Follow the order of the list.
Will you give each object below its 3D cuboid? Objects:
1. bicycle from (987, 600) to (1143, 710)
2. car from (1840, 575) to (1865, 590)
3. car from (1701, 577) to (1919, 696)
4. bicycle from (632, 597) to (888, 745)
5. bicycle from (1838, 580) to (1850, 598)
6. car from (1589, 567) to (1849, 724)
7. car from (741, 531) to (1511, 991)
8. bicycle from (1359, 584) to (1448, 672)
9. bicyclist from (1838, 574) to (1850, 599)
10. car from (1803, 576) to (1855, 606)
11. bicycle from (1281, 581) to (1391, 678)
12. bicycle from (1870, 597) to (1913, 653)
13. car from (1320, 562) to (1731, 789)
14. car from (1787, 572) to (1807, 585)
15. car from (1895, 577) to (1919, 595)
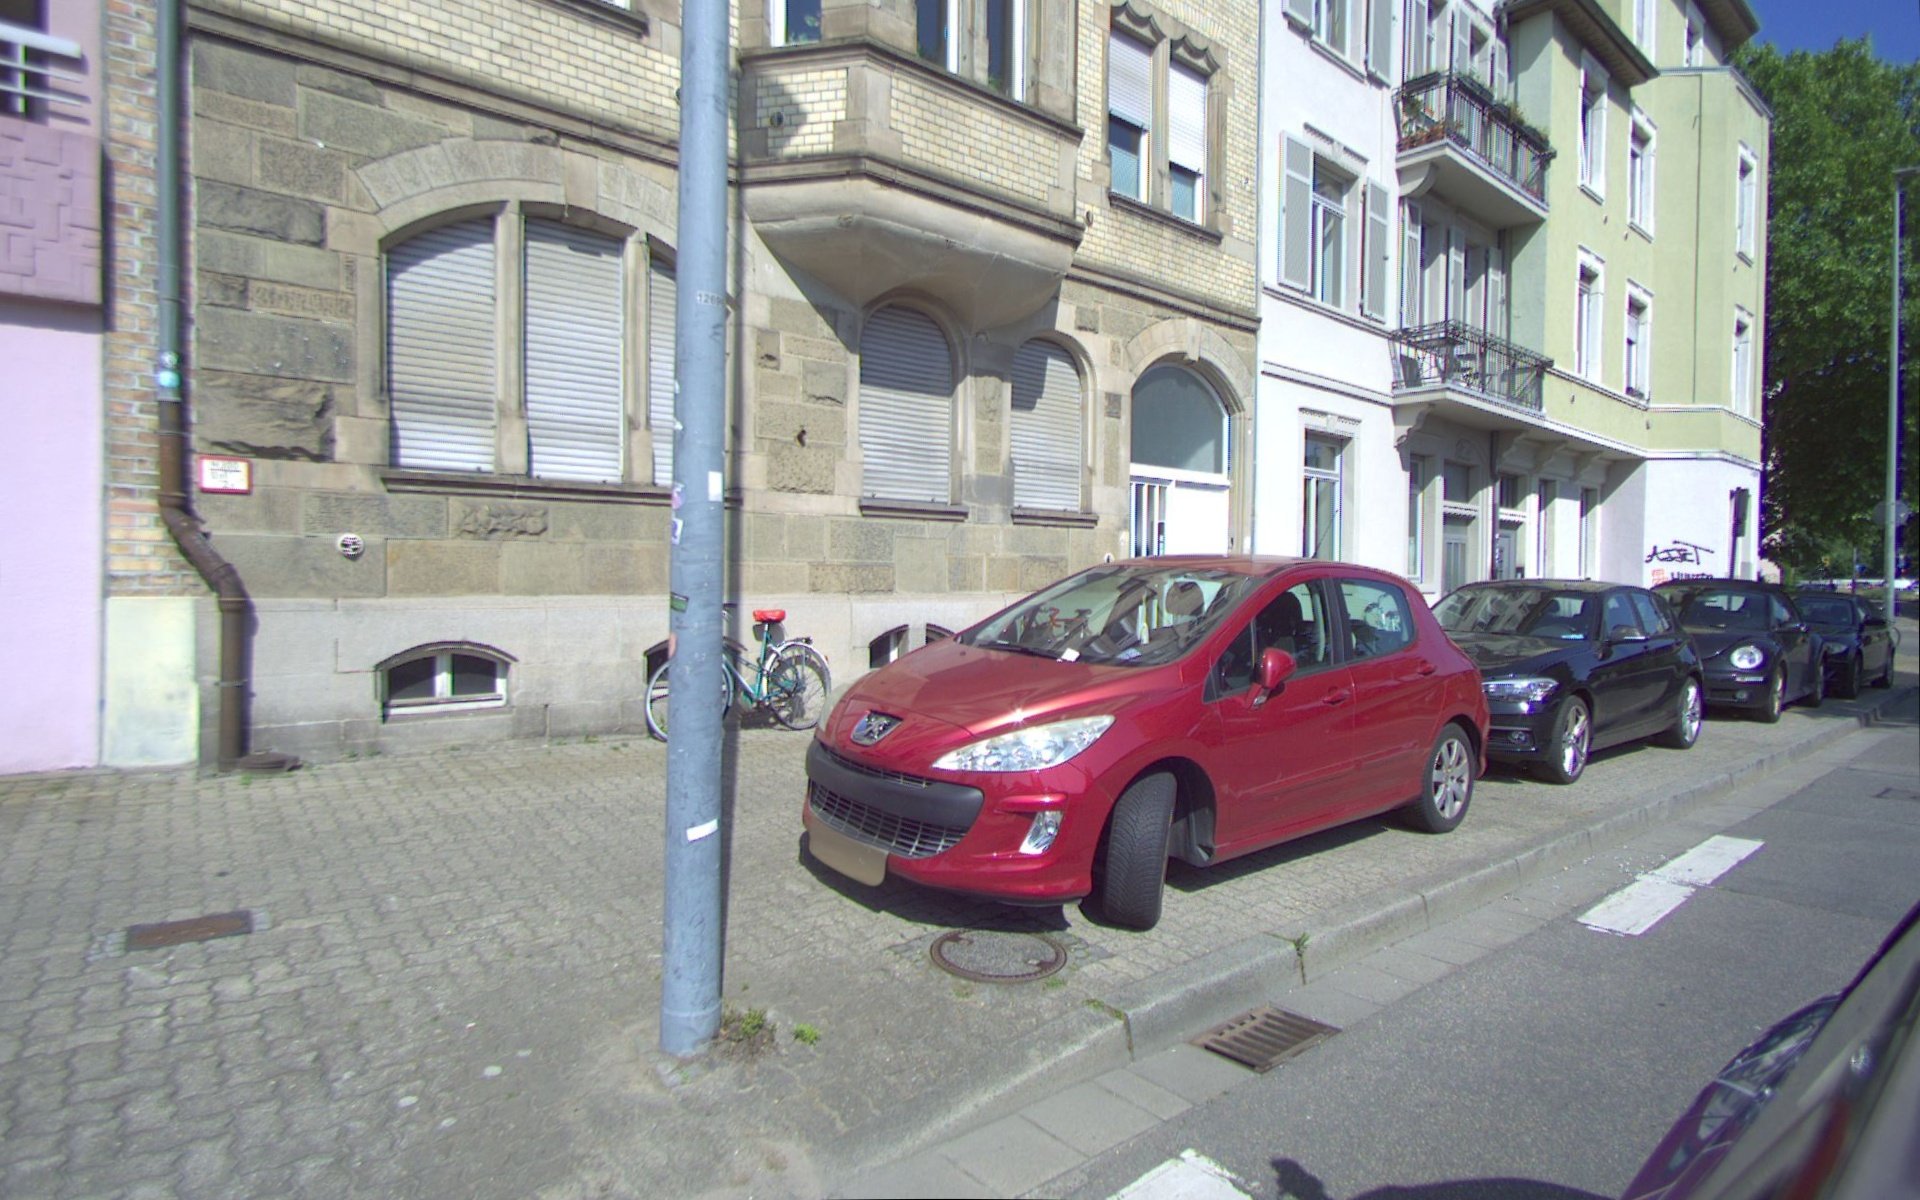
[{"bbox_3d":[1.053,0.505,9.961,1.622,0.982,0.509,0,2,-38],"label":"bicycle"},{"bbox_3d":[108.548,-2.136,123.160,1.622,1.834,3.552,2,2,31],"label":"car"},{"bbox_3d":[12.361,0.420,14.628,4.009,1.433,1.744,-1,3,-40],"label":"car"},{"bbox_3d":[-1.498,0.486,7.768,1.830,0.982,0.652,0,2,-38],"label":"bicycle"},{"bbox_3d":[58.981,-0.733,67.522,0.552,1.203,1.266,2,2,44],"label":"bicycle"},{"bbox_3d":[9.006,0.405,11.894,3.941,1.519,1.645,-1,3,-41],"label":"car"},{"bbox_3d":[1.069,0.467,5.243,3.929,1.500,1.789,-1,3,-40],"label":"car"},{"bbox_3d":[6.375,0.369,14.500,1.599,1.195,0.566,-1,2,-43],"label":"bicycle"},{"bbox_3d":[58.988,-0.876,67.532,0.539,1.653,0.580,2,2,45],"label":"bicyclist"},{"bbox_3d":[45.993,-0.519,53.620,1.783,1.531,3.843,1,2,36],"label":"car"},{"bbox_3d":[4.934,0.353,13.243,1.599,1.160,0.656,0,3,-43],"label":"bicycle"},{"bbox_3d":[19.628,0.510,21.319,1.706,1.101,0.577,-1,2,-45],"label":"bicycle"},{"bbox_3d":[4.882,0.448,8.505,4.053,1.471,1.646,-1,2,-40],"label":"car"},{"bbox_3d":[121.815,-3.194,147.279,1.622,1.834,3.552,2,2,31],"label":"car"},{"bbox_3d":[106.386,-1.615,113.401,1.622,1.938,3.639,1,1,32],"label":"car"}]
